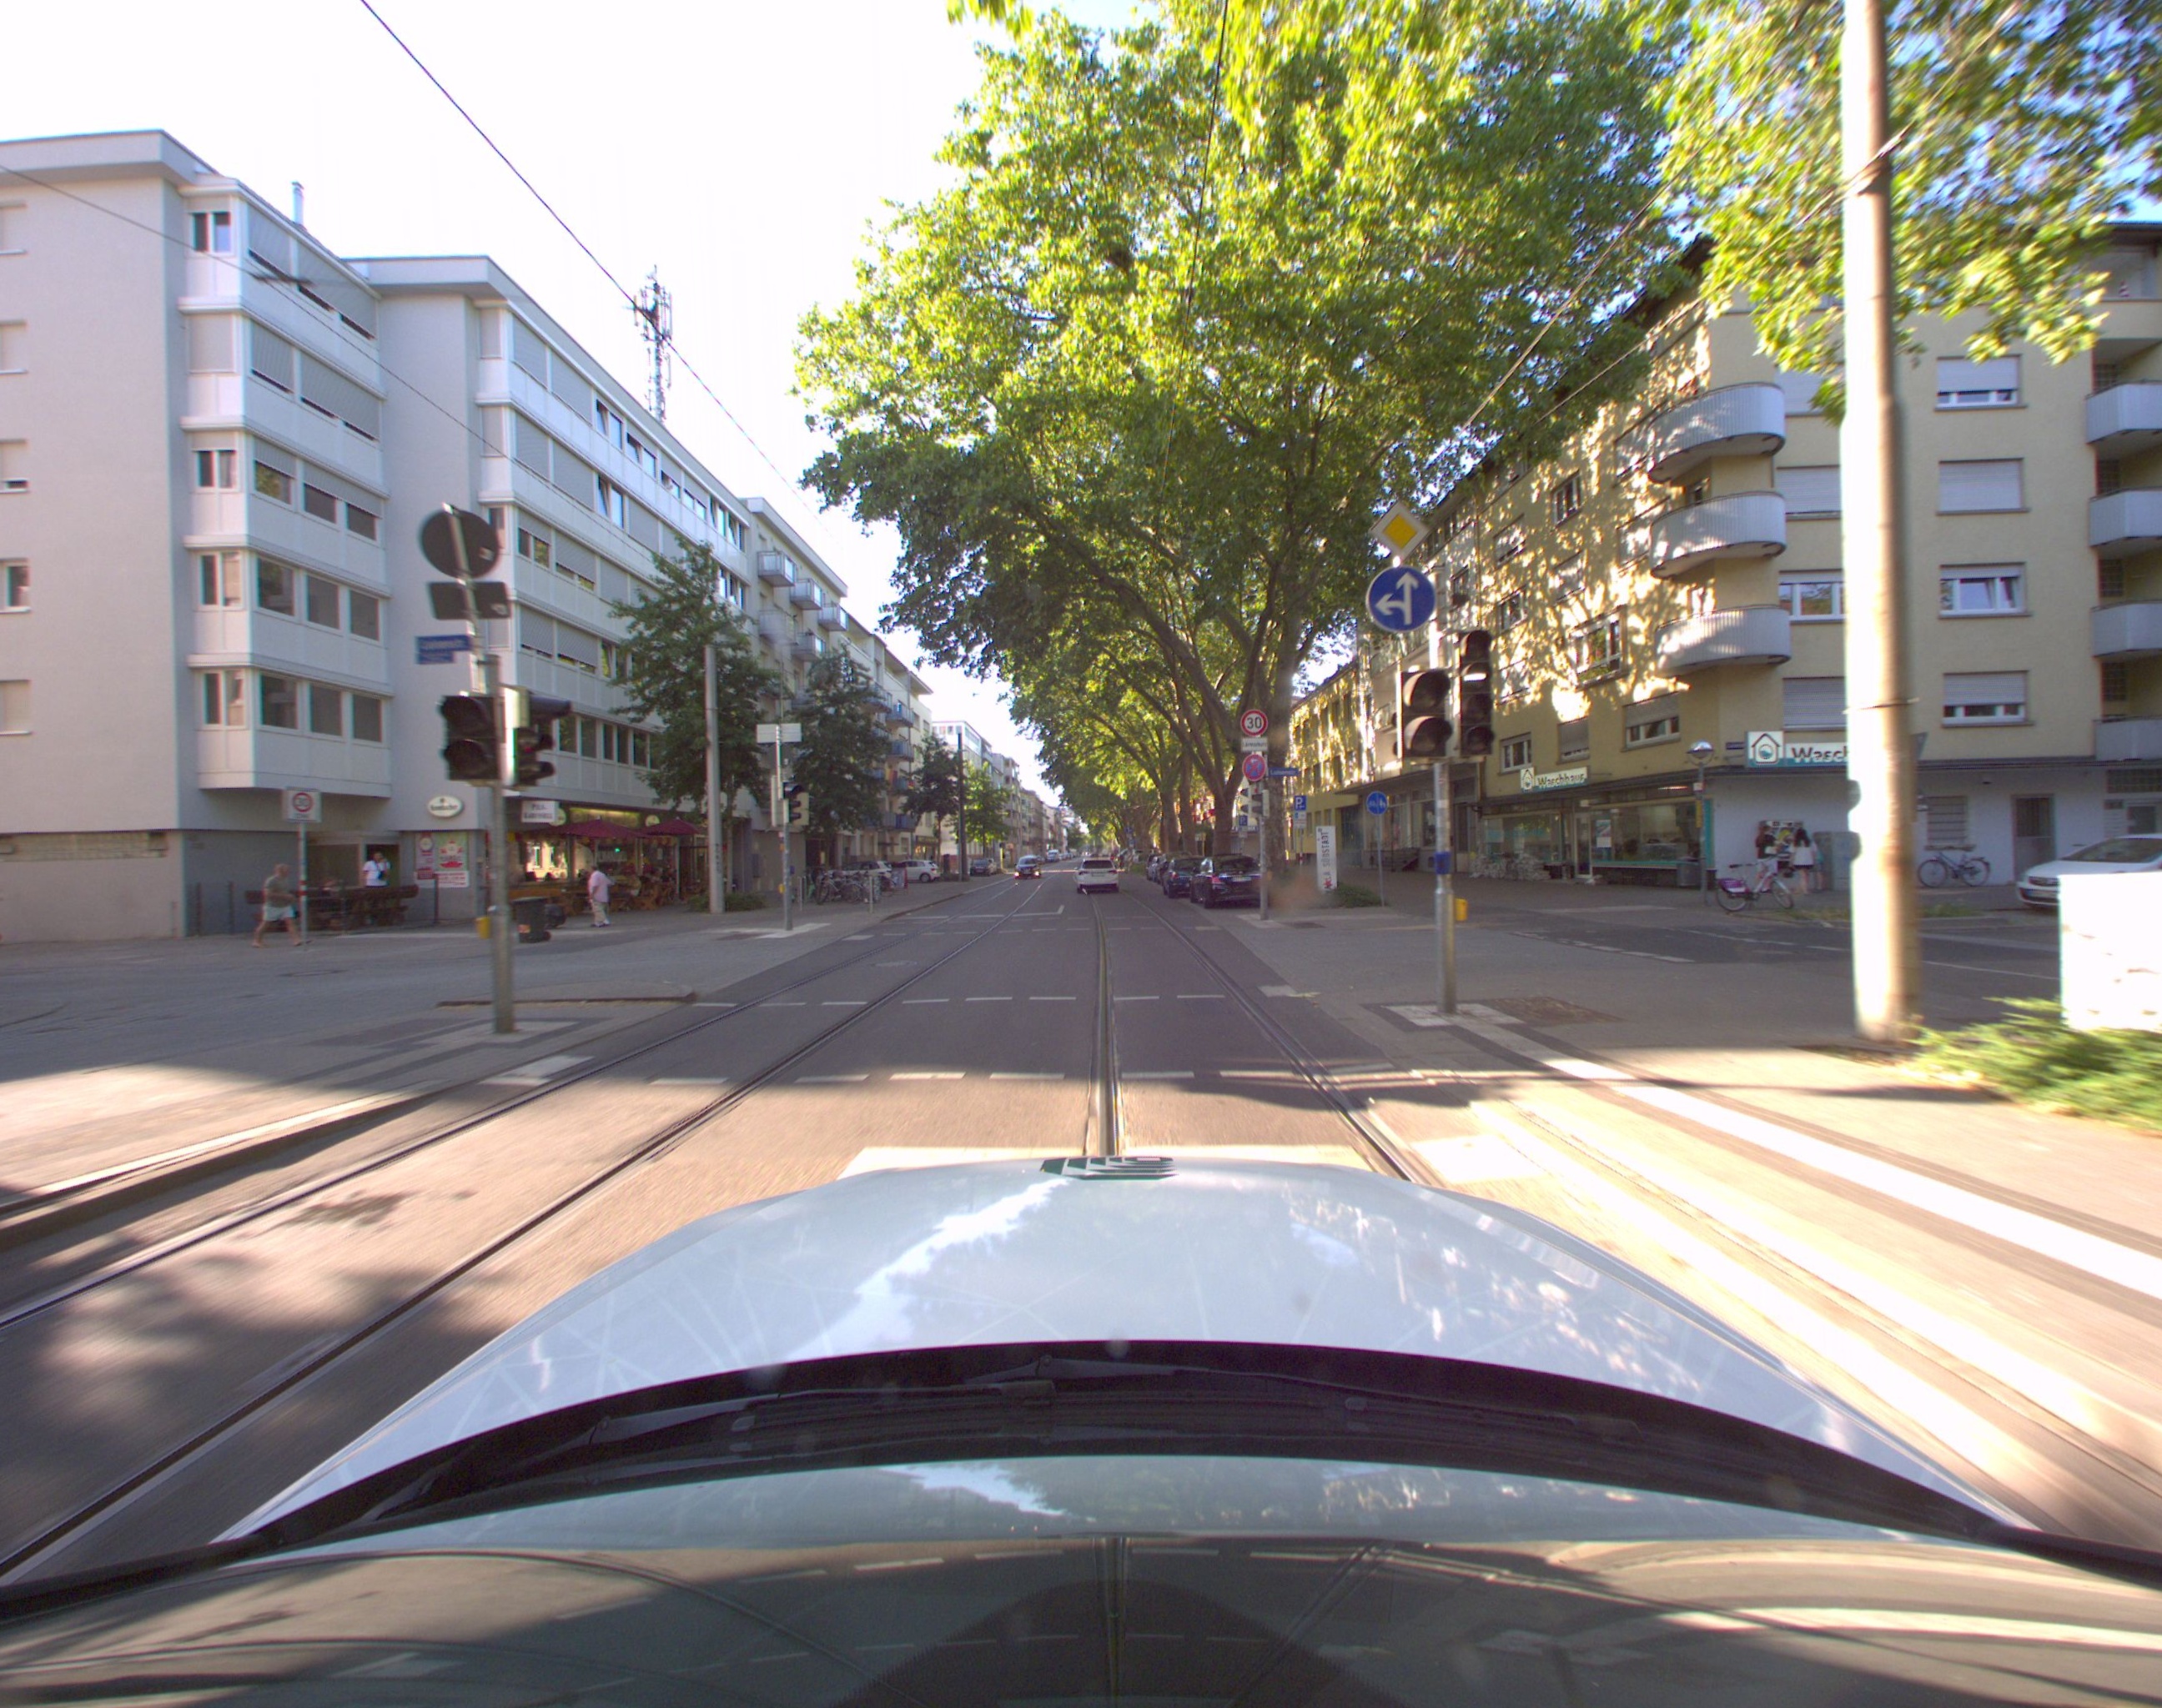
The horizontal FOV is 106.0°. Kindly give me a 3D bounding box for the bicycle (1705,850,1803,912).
[{"bbox_3d":[14.072,0.542,17.026,1.798,1.156,0.740,-3,0,-21],"label":"bicycle"}]

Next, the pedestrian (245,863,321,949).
[{"bbox_3d":[-16.305,1.044,16.661,0.756,1.671,0.768,-2,0,-4],"label":"pedestrian"}]

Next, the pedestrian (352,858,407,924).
[{"bbox_3d":[-18.145,0.941,21.072,0.741,1.659,0.772,-2,0,16],"label":"pedestrian"}]

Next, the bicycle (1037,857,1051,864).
[{"bbox_3d":[-6.832,1.222,151.104,2.521,1.172,0.718,0,-2,-5],"label":"bicycle"}]

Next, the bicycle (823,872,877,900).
[{"bbox_3d":[-8.550,1.177,30.161,1.825,1.007,0.657,0,-1,-4],"label":"bicycle"}]

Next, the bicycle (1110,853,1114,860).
[{"bbox_3d":[5.222,0.401,136.218,0.647,1.071,1.583,-2,0,0],"label":"bicycle"}]

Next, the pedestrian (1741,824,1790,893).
[{"bbox_3d":[16.990,0.106,20.215,0.704,1.682,0.656,-2,0,-26],"label":"pedestrian"}]

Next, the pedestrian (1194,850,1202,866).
[{"bbox_3d":[14.710,0.507,102.129,0.764,1.866,1.187,-2,0,-2],"label":"pedestrian"}]

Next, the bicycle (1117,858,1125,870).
[{"bbox_3d":[3.656,0.881,74.861,0.679,1.071,1.782,-2,0,2],"label":"bicycle"}]

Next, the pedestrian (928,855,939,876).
[{"bbox_3d":[-12.116,0.938,66.896,0.661,1.691,0.748,-1,0,0],"label":"pedestrian"}]

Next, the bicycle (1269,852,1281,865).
[{"bbox_3d":[17.541,0.409,73.725,0.580,1.104,1.923,-3,0,1],"label":"bicycle"}]

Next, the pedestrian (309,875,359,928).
[{"bbox_3d":[-18.368,1.161,20.044,0.752,1.241,0.761,-2,0,-32],"label":"pedestrian"}]

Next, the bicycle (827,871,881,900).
[{"bbox_3d":[-8.479,1.179,30.480,1.825,1.064,0.657,0,-1,-4],"label":"bicycle"}]

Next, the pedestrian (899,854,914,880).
[{"bbox_3d":[-11.609,0.877,54.236,0.761,1.691,0.794,-1,0,0],"label":"pedestrian"}]

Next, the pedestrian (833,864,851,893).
[{"bbox_3d":[-11.147,1.124,37.945,0.713,1.297,0.908,-2,0,-13],"label":"pedestrian"}]

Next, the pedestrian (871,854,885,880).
[{"bbox_3d":[-13.549,0.883,54.404,0.661,1.691,0.748,-1,0,0],"label":"pedestrian"}]

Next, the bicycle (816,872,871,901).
[{"bbox_3d":[-8.598,1.178,29.515,1.825,1.007,0.657,0,-1,-4],"label":"bicycle"}]

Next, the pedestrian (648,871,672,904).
[{"bbox_3d":[-15.917,1.246,30.815,0.560,1.198,0.624,-2,0,0],"label":"pedestrian"}]

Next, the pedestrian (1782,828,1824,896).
[{"bbox_3d":[16.993,0.184,19.163,0.694,1.539,0.695,-2,0,42],"label":"pedestrian"}]

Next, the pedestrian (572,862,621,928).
[{"bbox_3d":[-11.841,0.992,19.913,0.724,1.556,0.768,-2,0,-4],"label":"pedestrian"}]

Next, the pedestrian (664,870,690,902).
[{"bbox_3d":[-15.929,1.261,32.102,0.670,1.198,0.655,-2,0,0],"label":"pedestrian"}]

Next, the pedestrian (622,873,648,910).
[{"bbox_3d":[-14.877,1.245,27.193,0.509,1.198,0.564,-2,0,3],"label":"pedestrian"}]

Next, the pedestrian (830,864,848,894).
[{"bbox_3d":[-10.909,1.111,36.701,0.713,1.297,0.744,-2,0,-13],"label":"pedestrian"}]

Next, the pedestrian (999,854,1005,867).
[{"bbox_3d":[-11.706,0.968,120.553,0.661,1.826,0.965,-1,0,0],"label":"pedestrian"}]

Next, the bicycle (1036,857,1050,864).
[{"bbox_3d":[-6.917,1.218,150.222,2.545,1.172,0.873,2,-2,-39],"label":"bicycle"}]

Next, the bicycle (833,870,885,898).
[{"bbox_3d":[-8.526,1.143,31.294,1.825,1.007,0.657,0,-1,-4],"label":"bicycle"}]

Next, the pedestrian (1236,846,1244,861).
[{"bbox_3d":[17.727,-0.109,90.583,0.743,1.644,0.666,-1,0,2],"label":"pedestrian"}]

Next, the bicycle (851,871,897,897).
[{"bbox_3d":[-8.271,1.183,32.643,1.687,1.007,0.657,0,-1,-4],"label":"bicycle"}]

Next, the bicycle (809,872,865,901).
[{"bbox_3d":[-8.701,1.156,29.076,1.825,1.007,0.657,0,-1,-4],"label":"bicycle"}]

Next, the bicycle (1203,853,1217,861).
[{"bbox_3d":[17.849,0.425,112.428,1.787,1.041,0.617,-3,0,-3],"label":"bicycle"}]

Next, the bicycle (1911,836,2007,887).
[{"bbox_3d":[22.015,0.186,20.432,1.686,1.156,0.602,-3,0,0],"label":"bicycle"}]

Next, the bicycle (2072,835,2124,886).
[{"bbox_3d":[24.856,0.156,19.896,1.704,1.156,0.595,-3,0,-33],"label":"bicycle"}]

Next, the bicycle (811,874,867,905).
[{"bbox_3d":[-8.190,1.182,27.584,1.687,1.007,0.657,0,-1,-4],"label":"bicycle"}]

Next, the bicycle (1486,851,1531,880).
[{"bbox_3d":[15.500,0.410,29.596,0.569,0.997,1.778,-3,0,-3],"label":"bicycle"}]
